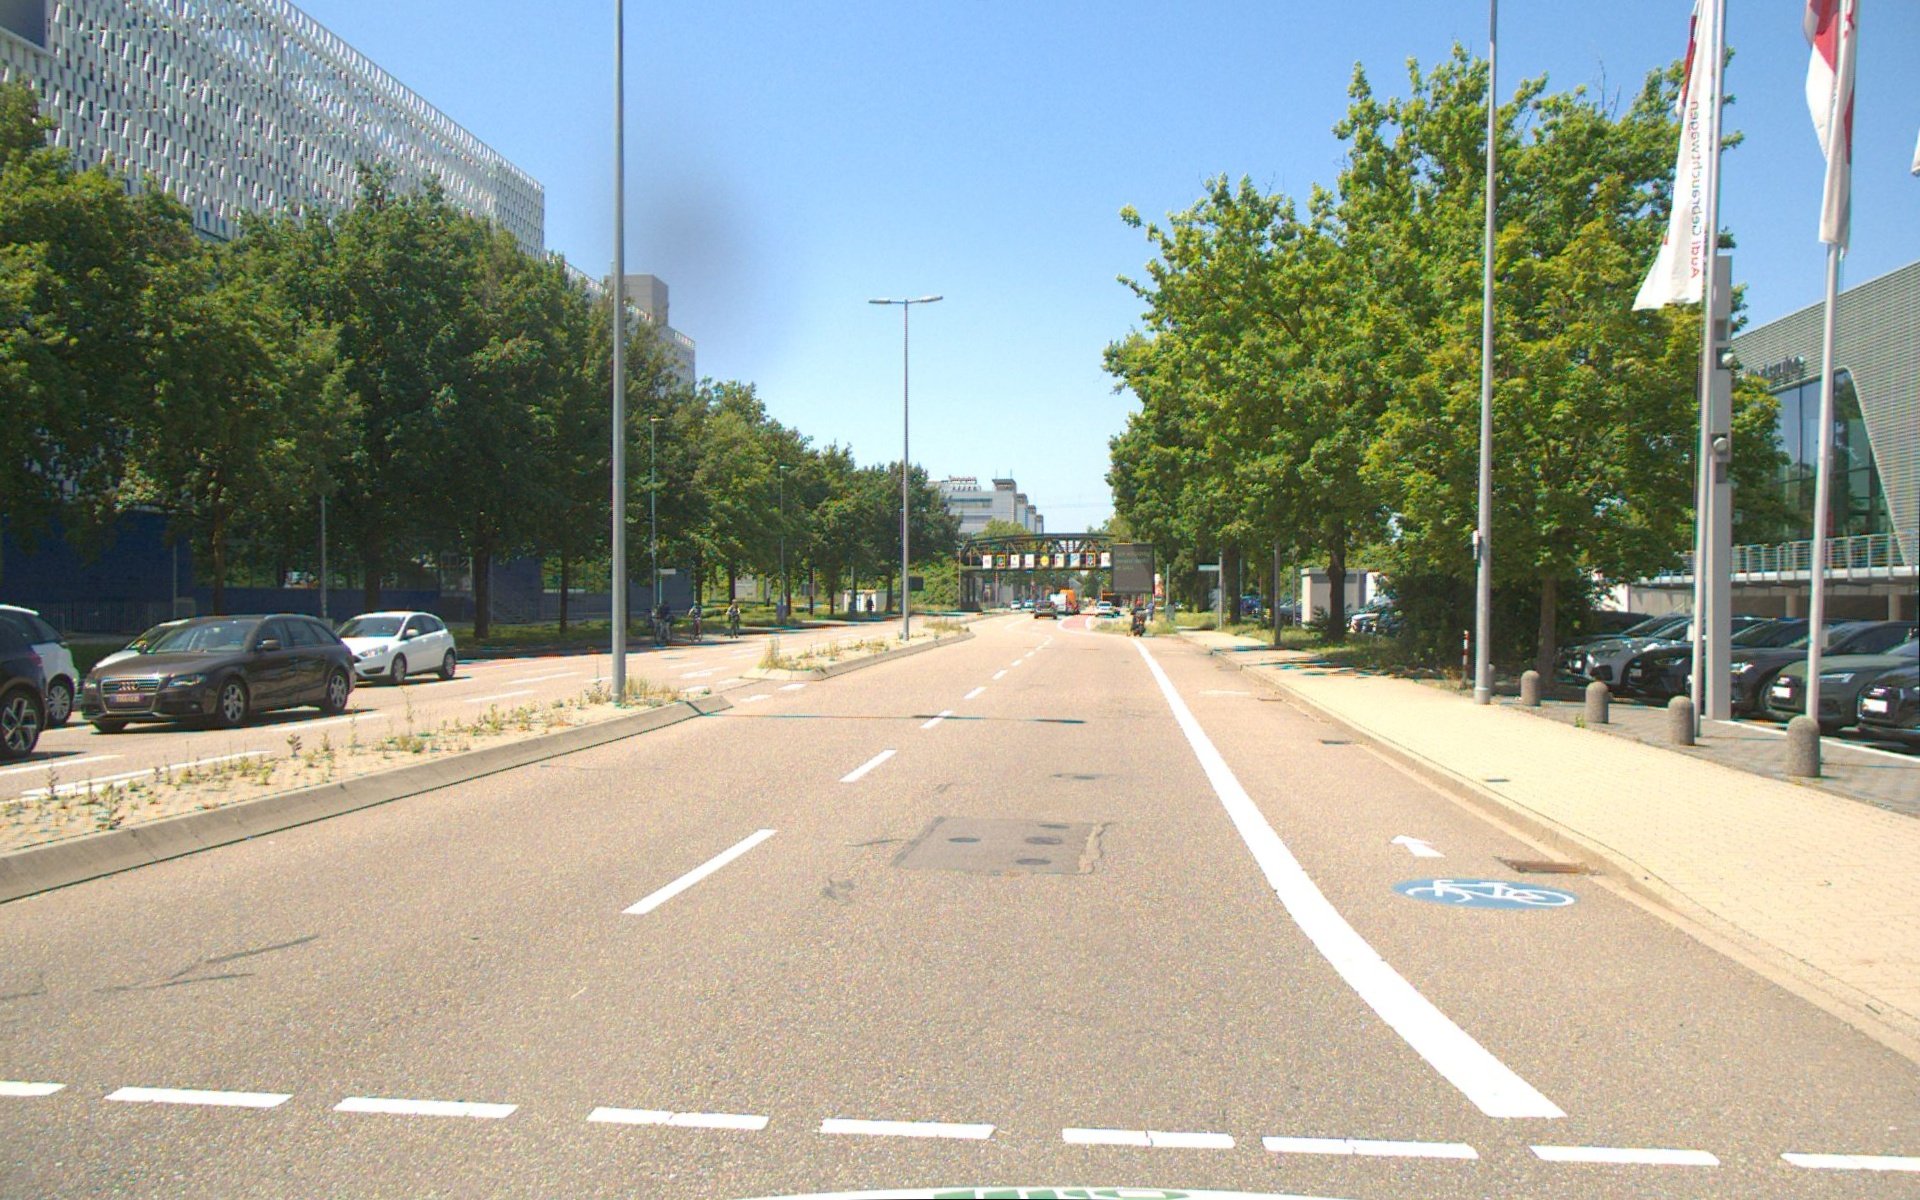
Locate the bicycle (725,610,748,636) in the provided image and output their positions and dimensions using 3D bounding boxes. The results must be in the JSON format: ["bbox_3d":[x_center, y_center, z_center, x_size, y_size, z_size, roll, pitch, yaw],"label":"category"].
[{"bbox_3d":[-10.590,1.084,78.313,0.615,1.179,2.118,-2,0,4],"label":"bicycle"}]

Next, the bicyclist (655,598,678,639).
[{"bbox_3d":[-12.377,0.780,69.766,0.729,1.715,0.953,0,0,8],"label":"bicyclist"}]

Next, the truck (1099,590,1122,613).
[{"bbox_3d":[16.707,0.144,183.759,2.407,2.452,7.138,2,0,5],"label":"truck"}]

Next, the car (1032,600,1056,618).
[{"bbox_3d":[6.822,0.714,134.656,1.860,1.400,4.234,0,0,4],"label":"car"}]

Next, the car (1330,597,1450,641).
[{"bbox_3d":[16.460,0.725,63.532,4.133,1.365,1.918,4,0,5],"label":"car"}]

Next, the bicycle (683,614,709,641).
[{"bbox_3d":[-11.919,1.239,74.665,0.624,1.153,1.972,0,0,7],"label":"bicycle"}]

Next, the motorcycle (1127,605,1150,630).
[{"bbox_3d":[8.079,0.789,74.923,0.702,1.124,1.828,2,0,-5],"label":"motorcycle"}]

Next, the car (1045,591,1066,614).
[{"bbox_3d":[9.148,0.230,158.267,1.952,2.049,4.002,1,0,4],"label":"car"}]

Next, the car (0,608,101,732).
[{"bbox_3d":[-13.016,0.901,21.251,1.690,1.571,3.917,-1,-1,5],"label":"car"}]

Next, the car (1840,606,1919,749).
[{"bbox_3d":[11.756,0.870,17.225,4.137,1.414,1.870,3,0,5],"label":"car"}]

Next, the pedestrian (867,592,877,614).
[{"bbox_3d":[-7.586,0.239,142.523,0.728,1.917,0.578,0,0,5],"label":"pedestrian"}]

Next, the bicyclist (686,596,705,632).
[{"bbox_3d":[-11.924,0.625,74.622,0.623,1.610,0.885,0,0,8],"label":"bicyclist"}]

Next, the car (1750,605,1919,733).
[{"bbox_3d":[12.032,0.864,20.028,4.014,1.429,1.870,3,0,5],"label":"car"}]

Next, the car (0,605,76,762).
[{"bbox_3d":[-10.302,0.836,15.241,1.690,1.531,4.246,-2,-1,6],"label":"car"}]

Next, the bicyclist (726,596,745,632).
[{"bbox_3d":[-10.615,0.646,78.209,0.620,1.657,1.045,-2,0,4],"label":"bicyclist"}]

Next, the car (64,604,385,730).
[{"bbox_3d":[-9.678,0.826,22.247,1.690,1.471,4.723,-2,-1,8],"label":"car"}]

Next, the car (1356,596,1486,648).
[{"bbox_3d":[16.155,0.750,58.079,4.044,1.404,1.780,5,0,5],"label":"car"}]

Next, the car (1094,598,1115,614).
[{"bbox_3d":[13.470,0.584,154.580,1.883,1.445,4.002,1,0,4],"label":"car"}]

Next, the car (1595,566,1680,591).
[{"bbox_3d":[34.749,-1.108,84.930,3.648,1.150,1.684,2,0,1],"label":"car"}]

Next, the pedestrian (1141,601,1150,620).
[{"bbox_3d":[13.465,0.744,119.833,0.610,1.398,0.565,0,0,3],"label":"pedestrian"}]

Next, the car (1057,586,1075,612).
[{"bbox_3d":[11.963,-0.142,186.155,2.029,2.904,6.768,0,0,4],"label":"car"}]

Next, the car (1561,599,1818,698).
[{"bbox_3d":[12.501,0.801,28.524,3.604,1.478,1.835,3,0,5],"label":"car"}]

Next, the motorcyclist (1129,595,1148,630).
[{"bbox_3d":[8.083,0.581,74.939,0.705,1.556,0.870,2,0,-5],"label":"motorcyclist"}]

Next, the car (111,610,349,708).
[{"bbox_3d":[-12.269,0.933,28.156,1.709,1.447,4.626,-1,0,4],"label":"car"}]

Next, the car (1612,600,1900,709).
[{"bbox_3d":[12.365,0.817,25.886,3.604,1.478,1.835,3,0,5],"label":"car"}]

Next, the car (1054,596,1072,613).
[{"bbox_3d":[10.978,0.464,176.063,1.855,1.847,4.002,0,0,4],"label":"car"}]

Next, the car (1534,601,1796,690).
[{"bbox_3d":[13.223,0.833,31.218,4.143,1.426,1.817,3,1,5],"label":"car"}]

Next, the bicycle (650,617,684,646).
[{"bbox_3d":[-12.366,1.314,69.844,0.723,1.145,2.436,0,0,8],"label":"bicycle"}]

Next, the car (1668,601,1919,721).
[{"bbox_3d":[12.271,0.840,23.026,4.014,1.478,1.870,3,0,5],"label":"car"}]

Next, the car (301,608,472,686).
[{"bbox_3d":[-11.800,0.935,34.331,1.690,1.471,4.454,-2,-1,4],"label":"car"}]
